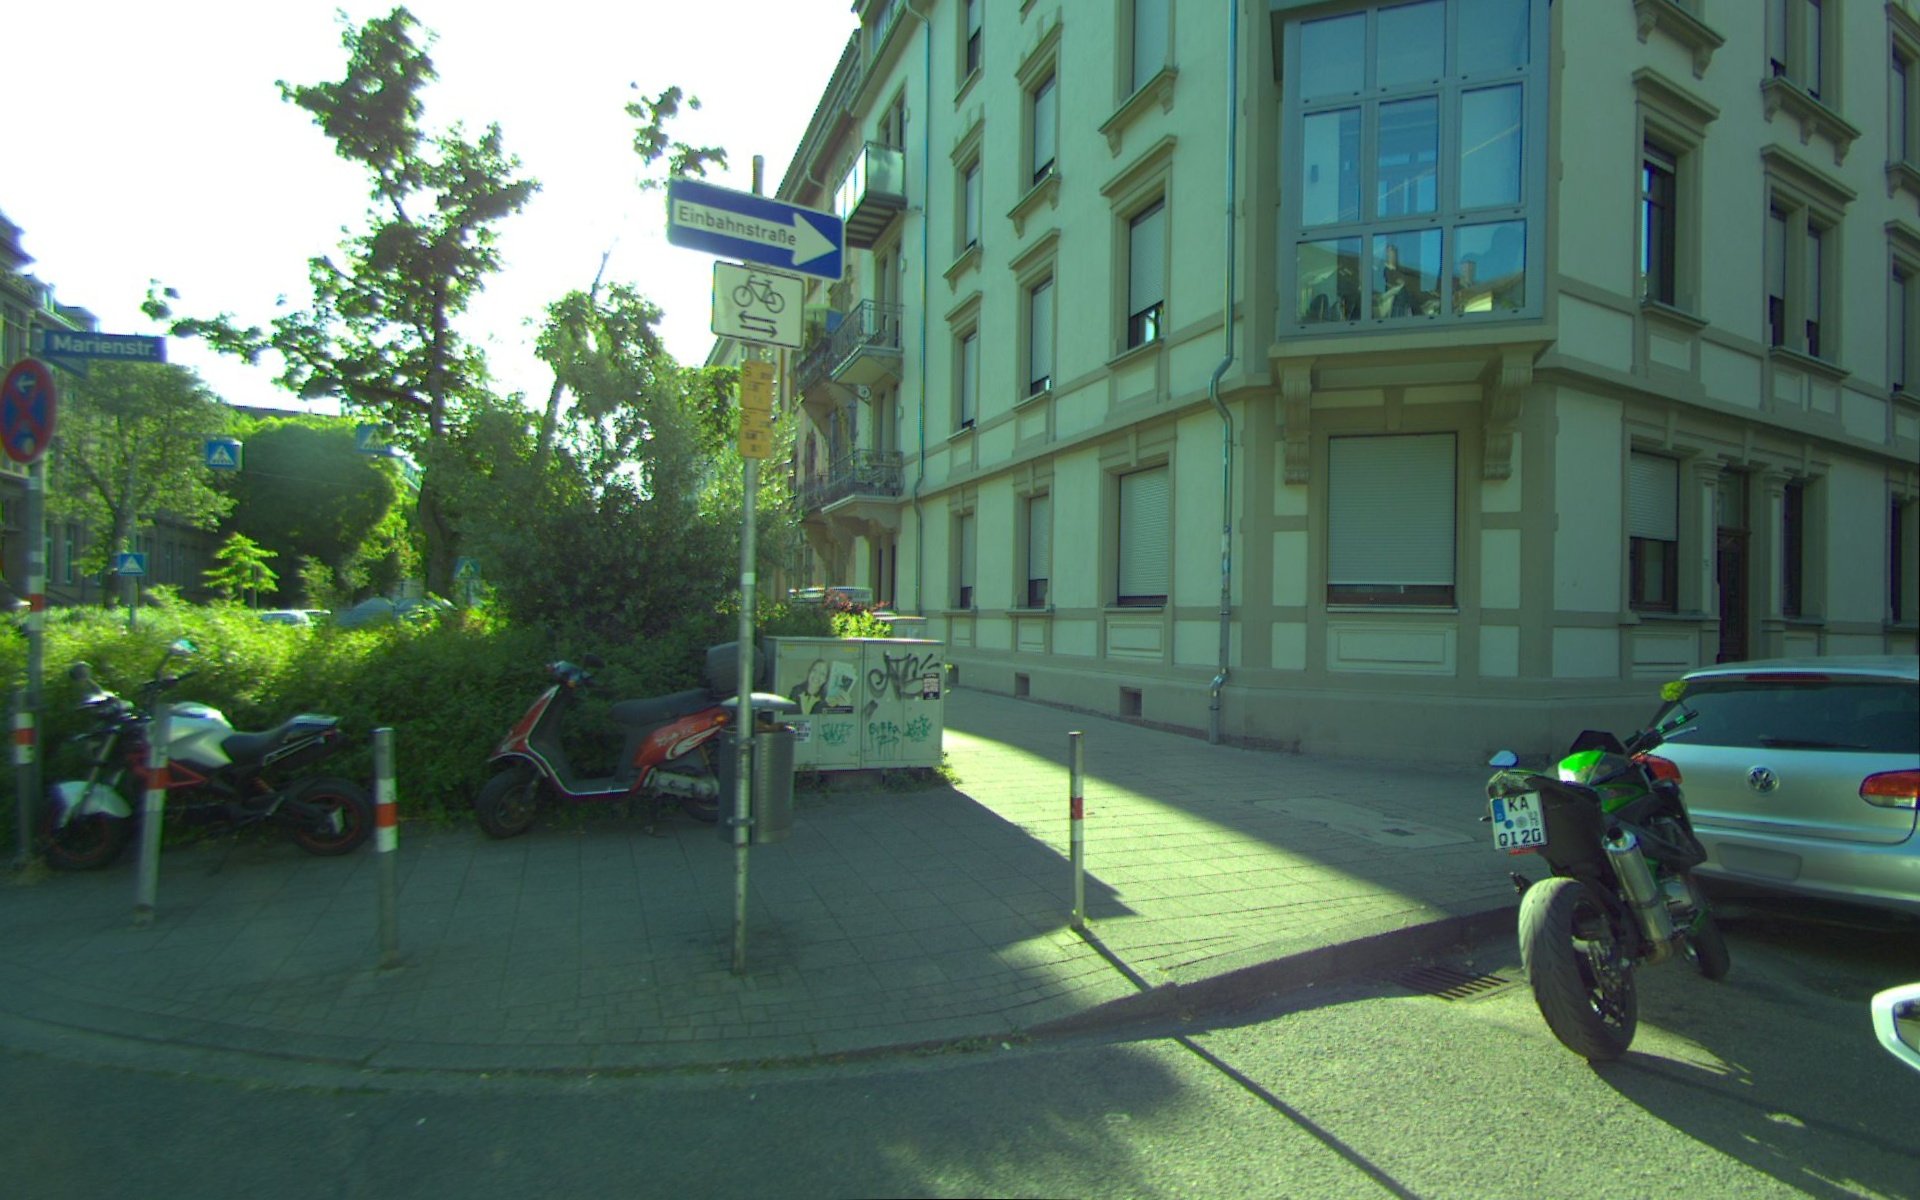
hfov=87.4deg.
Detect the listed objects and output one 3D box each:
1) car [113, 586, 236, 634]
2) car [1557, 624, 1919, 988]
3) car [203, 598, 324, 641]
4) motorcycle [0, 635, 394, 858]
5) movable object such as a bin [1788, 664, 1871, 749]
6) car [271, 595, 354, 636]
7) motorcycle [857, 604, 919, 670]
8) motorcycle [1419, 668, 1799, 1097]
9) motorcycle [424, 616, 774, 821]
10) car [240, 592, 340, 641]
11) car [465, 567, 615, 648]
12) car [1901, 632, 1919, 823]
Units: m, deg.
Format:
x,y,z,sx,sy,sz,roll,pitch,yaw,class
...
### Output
x,y,z,sx,sy,sz,roll,pitch,yaw,class
-23.493,0.311,30.209,1.711,1.321,3.982,2,-1,-20,car
5.478,0.950,5.784,3.884,1.503,1.773,2,-1,-29,car
-21.171,0.598,30.704,1.969,1.192,3.772,2,-1,-18,car
-4.285,0.791,5.579,1.839,1.104,0.639,3,-1,-16,motorcycle
10.774,1.301,12.450,0.505,0.968,0.618,2,1,-31,movable object such as a bin
-28.850,0.687,44.881,1.969,1.701,4.421,2,-1,-18,car
-1.597,0.764,21.743,0.618,1.324,2.435,2,-1,-21,motorcycle
2.733,0.972,4.141,1.982,1.351,0.671,2,-3,-38,motorcycle
-2.256,0.759,6.519,2.008,1.212,0.612,3,-1,-11,motorcycle
-25.394,0.623,38.233,1.969,1.701,4.421,2,-1,-18,car
-15.301,0.314,36.769,4.840,2.741,2.124,2,-1,-23,car
9.560,1.069,8.191,3.699,1.503,1.772,2,-1,-30,car
